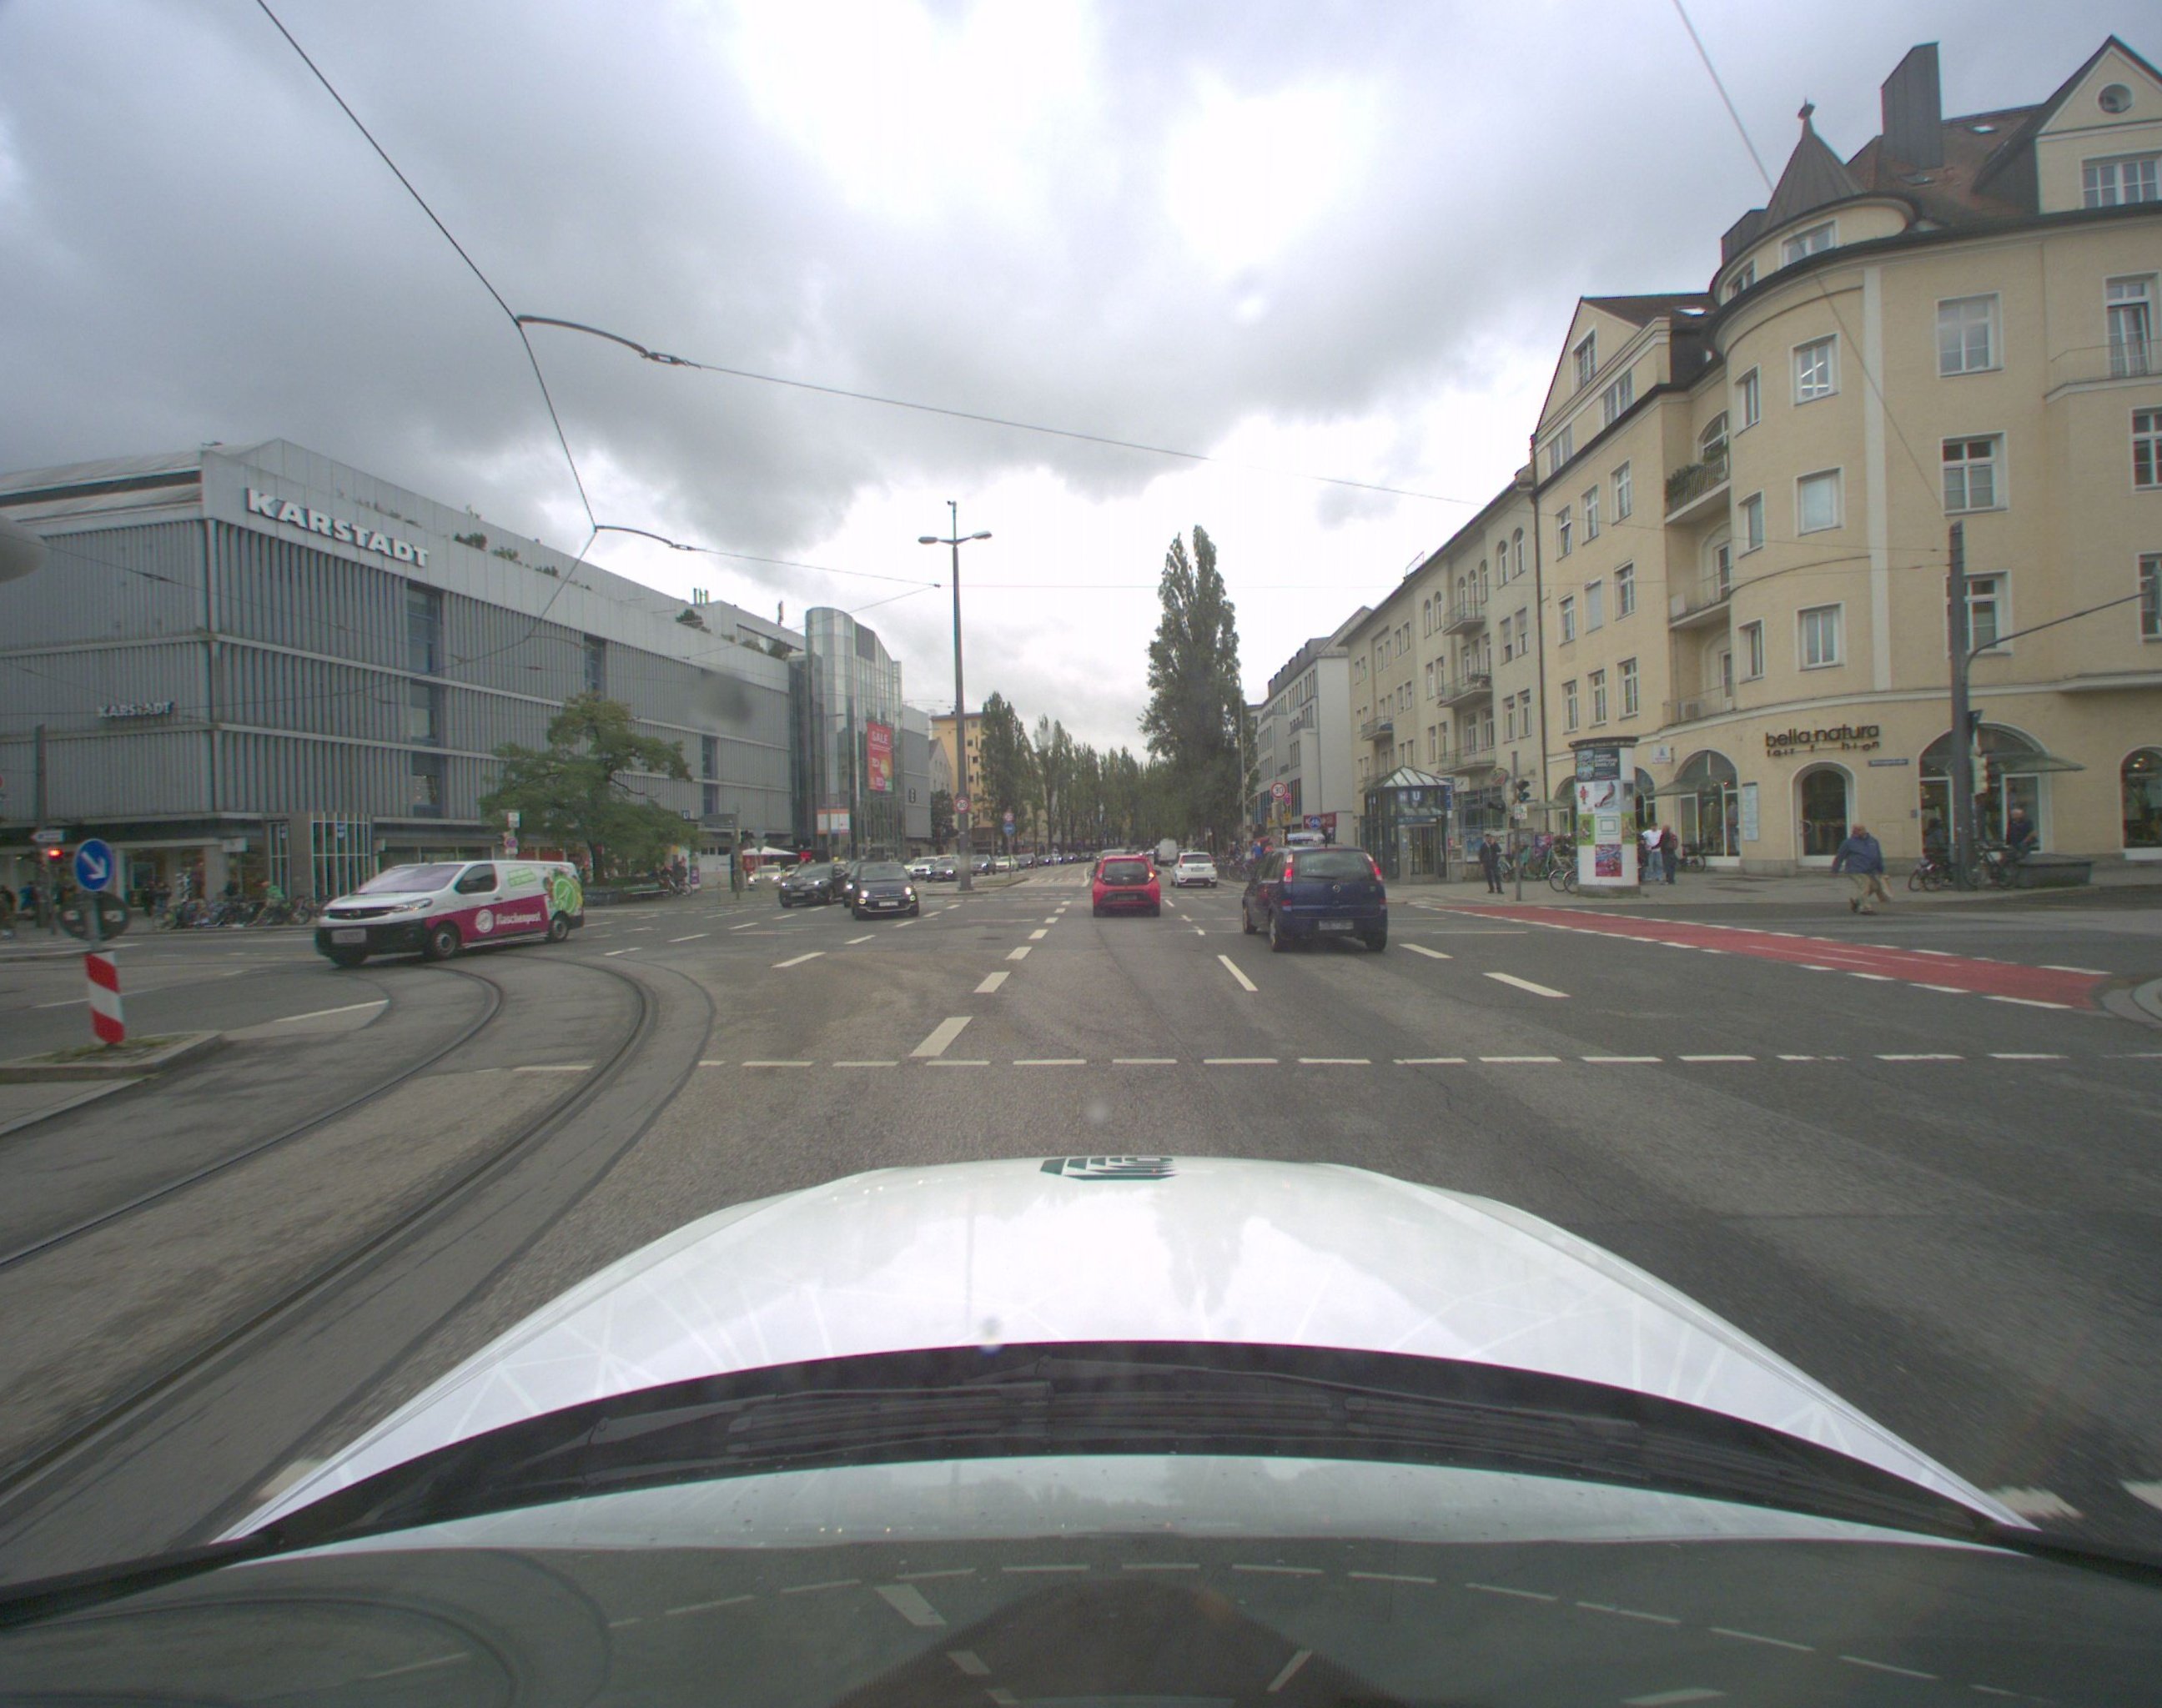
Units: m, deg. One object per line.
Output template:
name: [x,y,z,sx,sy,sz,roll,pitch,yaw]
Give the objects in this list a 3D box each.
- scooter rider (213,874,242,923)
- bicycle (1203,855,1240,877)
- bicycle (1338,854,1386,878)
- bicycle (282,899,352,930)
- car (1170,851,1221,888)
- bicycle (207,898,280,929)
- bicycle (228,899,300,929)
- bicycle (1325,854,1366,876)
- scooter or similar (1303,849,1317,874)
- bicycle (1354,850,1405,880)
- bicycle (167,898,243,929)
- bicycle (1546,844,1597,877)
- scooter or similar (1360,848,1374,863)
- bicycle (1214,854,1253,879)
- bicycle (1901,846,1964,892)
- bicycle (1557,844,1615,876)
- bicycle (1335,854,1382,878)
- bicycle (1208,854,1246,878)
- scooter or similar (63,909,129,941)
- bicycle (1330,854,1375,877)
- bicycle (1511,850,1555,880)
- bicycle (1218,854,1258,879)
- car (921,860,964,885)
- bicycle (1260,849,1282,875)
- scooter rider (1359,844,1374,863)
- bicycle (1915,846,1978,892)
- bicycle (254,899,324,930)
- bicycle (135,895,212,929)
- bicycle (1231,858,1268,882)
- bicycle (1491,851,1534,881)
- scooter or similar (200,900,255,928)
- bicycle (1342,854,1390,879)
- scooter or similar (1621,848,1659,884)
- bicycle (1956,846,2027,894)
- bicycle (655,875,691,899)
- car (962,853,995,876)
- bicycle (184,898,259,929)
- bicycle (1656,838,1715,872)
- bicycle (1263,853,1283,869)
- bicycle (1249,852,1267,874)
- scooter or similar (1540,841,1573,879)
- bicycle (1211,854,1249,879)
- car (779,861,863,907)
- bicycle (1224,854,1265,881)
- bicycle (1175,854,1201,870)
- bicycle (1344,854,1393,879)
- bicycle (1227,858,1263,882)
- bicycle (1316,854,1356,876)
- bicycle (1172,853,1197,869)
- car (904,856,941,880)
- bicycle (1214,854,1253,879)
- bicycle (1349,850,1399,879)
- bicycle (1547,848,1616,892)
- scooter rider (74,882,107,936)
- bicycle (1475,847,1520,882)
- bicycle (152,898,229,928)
scooter rider: [-33.070,1.711,31.556,0.671,1.835,0.613,-2,0,-40]
bicycle: [7.365,0.635,42.832,1.781,1.158,0.656,-2,0,37]
bicycle: [12.050,0.513,34.946,1.832,0.964,0.509,-2,0,0]
bicycle: [-27.152,2.141,28.984,0.525,0.998,1.987,-2,-2,2]
car: [4.713,0.611,33.897,1.693,1.426,3.498,-2,0,1]
bicycle: [-30.106,2.129,29.311,0.525,0.998,1.987,-2,-2,2]
bicycle: [-29.326,2.132,29.265,0.525,0.998,1.987,-2,-2,2]
bicycle: [12.148,0.502,37.408,1.748,0.964,0.453,-2,0,0]
scooter or similar: [11.235,0.374,39.919,0.297,1.176,1.285,-2,0,32]
bicycle: [11.953,0.437,32.664,1.832,1.094,0.509,-2,0,0]
bicycle: [-31.567,2.124,29.384,0.525,0.998,1.987,-2,-2,2]
bicycle: [16.447,0.199,27.368,0.493,1.059,1.864,-2,0,-2]
scooter or similar: [19.042,0.102,54.268,0.533,0.943,1.125,-3,0,0]
bicycle: [7.506,0.609,40.134,1.782,1.158,0.490,-2,0,27]
bicycle: [20.523,0.356,19.631,1.580,1.033,0.247,-2,0,-13]
bicycle: [17.066,0.201,27.579,0.495,1.059,1.858,-2,0,-13]
bicycle: [12.096,0.512,35.504,1.832,0.964,0.509,-2,0,0]
bicycle: [7.426,0.627,41.452,1.781,1.158,0.490,-2,0,32]
scooter or similar: [-34.806,2.497,28.792,0.409,0.982,1.413,-2,0,30]
bicycle: [12.096,0.510,36.331,1.832,0.964,0.509,-2,0,0]
bicycle: [15.189,0.353,27.404,0.492,0.975,1.867,-2,0,2]
bicycle: [7.440,0.611,38.642,1.781,1.158,0.551,-2,0,40]
car: [-8.758,1.143,51.744,1.987,1.412,4.167,-1,0,0]
bicycle: [9.764,0.385,41.941,0.611,1.265,2.521,-2,0,3]
scooter rider: [19.042,-0.065,54.256,0.683,1.219,0.719,-3,0,0]
bicycle: [20.597,0.357,19.375,1.580,1.033,0.247,-2,0,-13]
bicycle: [-28.305,2.136,29.151,0.525,0.998,1.987,-2,-2,2]
bicycle: [-32.818,2.074,29.486,0.582,1.111,1.895,-2,-2,3]
bicycle: [7.396,0.714,35.732,0.502,1.028,1.582,-2,0,-40]
bicycle: [14.513,0.381,27.415,0.492,0.975,1.867,-2,0,2]
scooter or similar: [-33.053,2.306,31.564,1.411,0.982,0.410,-2,0,-40]
bicycle: [12.013,0.514,34.353,1.832,0.964,0.509,-2,0,0]
scooter or similar: [16.347,0.339,23.810,0.812,0.994,0.597,-1,3,24]
bicycle: [20.979,0.359,18.765,1.580,1.033,0.356,-2,0,-13]
bicycle: [-20.154,1.625,40.227,1.566,1.112,0.374,-2,0,5]
car: [-7.988,0.793,64.101,1.736,1.670,4.735,-2,0,2]
bicycle: [-30.970,2.126,29.384,0.525,0.998,1.987,-2,-2,2]
bicycle: [20.464,0.040,27.598,0.493,1.089,1.864,-2,0,-4]
bicycle: [12.550,0.469,53.239,1.255,0.963,0.370,-2,0,4]
bicycle: [10.372,0.505,47.833,0.611,1.265,2.521,-2,0,3]
scooter or similar: [15.858,0.204,27.166,0.287,1.227,1.151,-2,0,-7]
bicycle: [7.461,0.630,40.796,1.782,1.158,0.490,-2,0,31]
car: [-9.539,1.054,30.216,1.659,1.508,4.281,-2,0,0]
bicycle: [7.450,0.619,37.247,0.562,1.198,1.782,-2,0,-45]
bicycle: [7.660,0.564,58.340,1.814,1.136,0.590,-2,0,38]
bicycle: [11.927,0.514,33.822,1.832,0.964,0.509,-2,0,0]
bicycle: [7.349,0.710,36.589,0.502,1.028,1.582,-2,0,-40]
bicycle: [12.240,0.513,39.134,1.747,0.964,0.453,-2,0,2]
bicycle: [7.759,0.559,61.069,1.814,1.136,0.590,-2,0,38]
car: [-11.195,0.993,57.809,1.692,1.596,4.000,-2,0,1]
bicycle: [7.374,0.609,39.327,1.781,1.158,0.551,-2,0,40]
bicycle: [11.951,0.436,33.231,1.832,1.094,0.509,-2,0,0]
bicycle: [14.093,0.445,22.956,1.561,1.160,0.525,-3,2,4]
scooter rider: [-34.866,1.934,28.677,0.548,1.839,0.613,-2,0,29]
bicycle: [14.013,0.346,27.445,0.564,1.107,1.867,-2,0,2]
bicycle: [-32.190,2.121,29.469,0.525,0.998,1.987,-2,-2,2]
